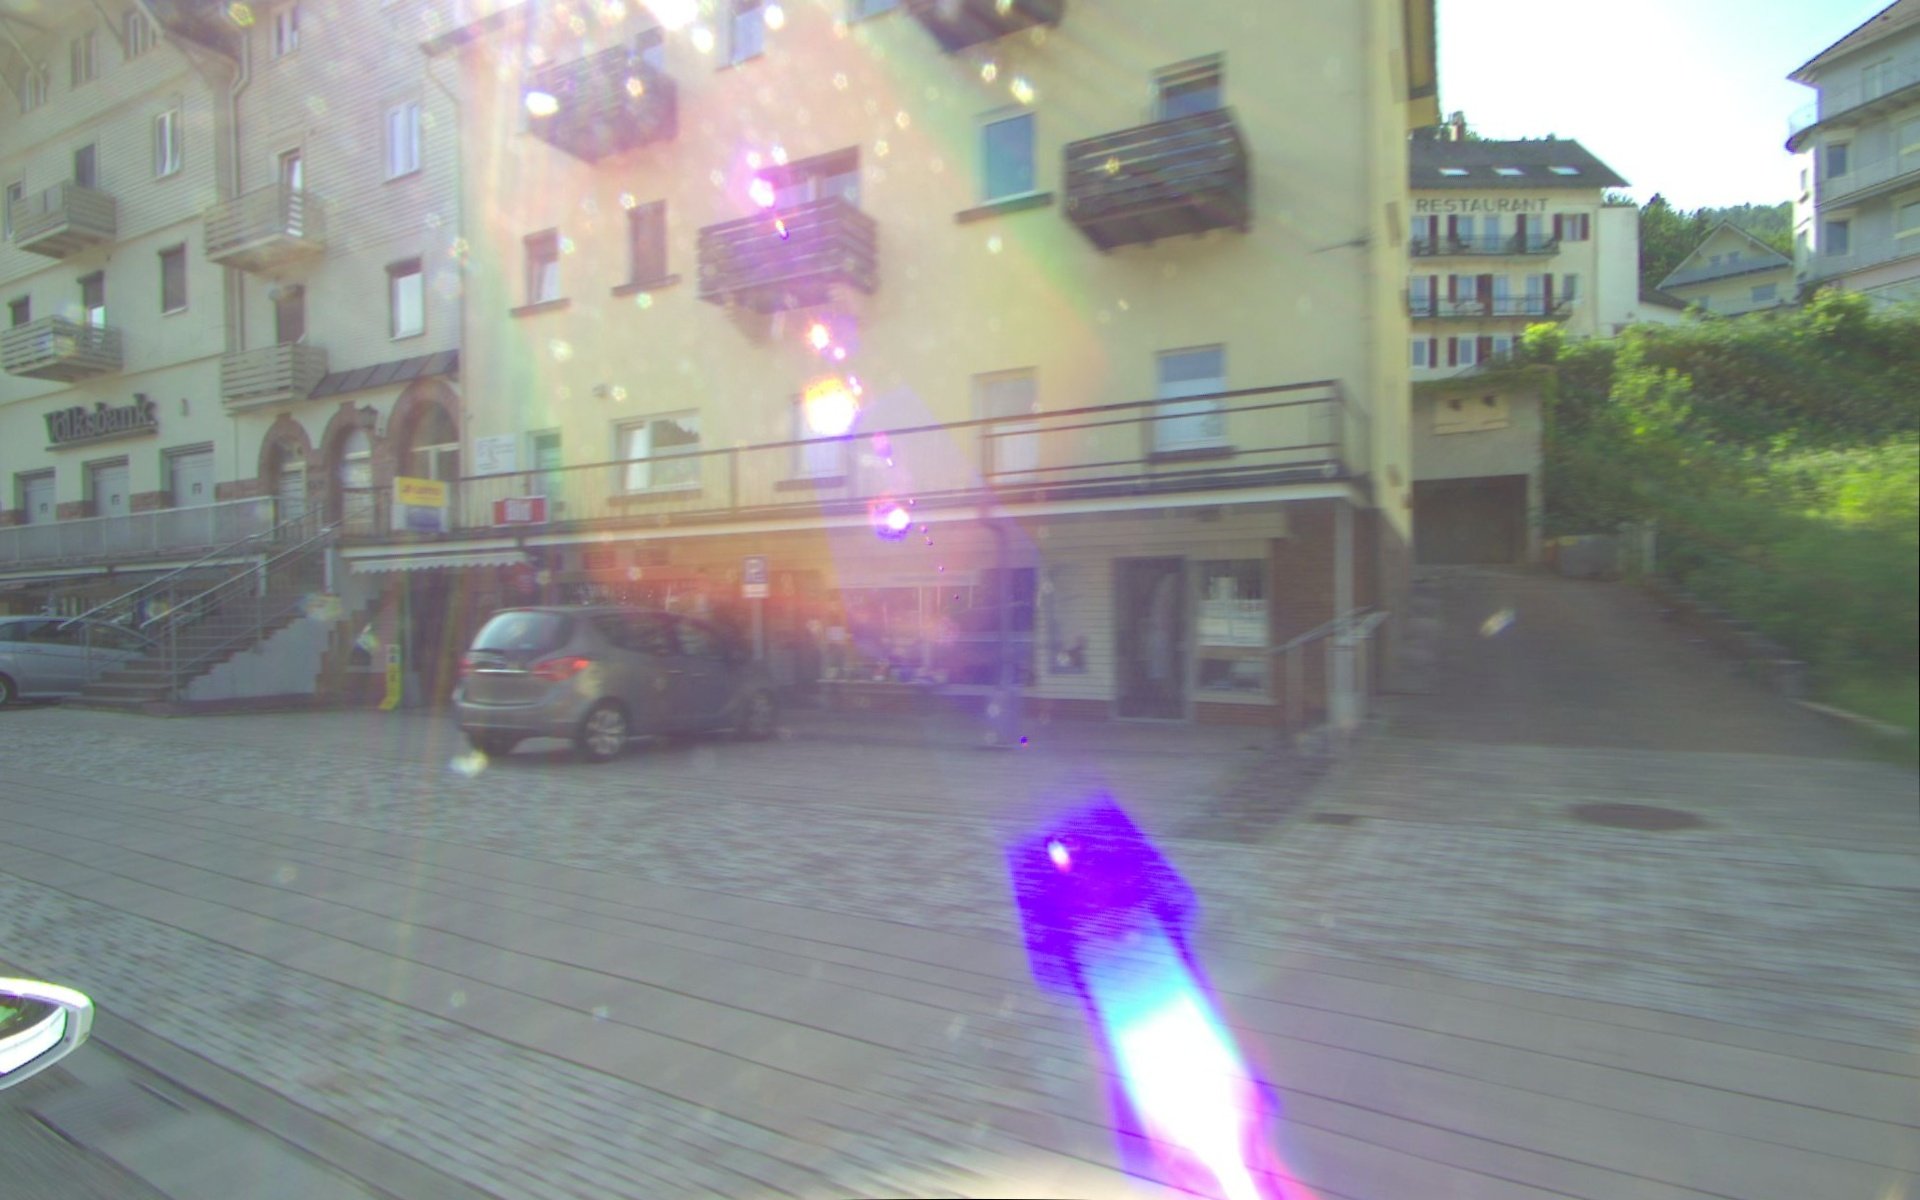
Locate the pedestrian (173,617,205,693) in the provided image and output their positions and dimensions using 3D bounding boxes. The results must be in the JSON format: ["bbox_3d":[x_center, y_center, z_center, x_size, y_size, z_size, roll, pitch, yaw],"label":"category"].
[{"bbox_3d":[-17.412,1.226,22.602,0.429,1.681,0.410,0,2,36],"label":"pedestrian"}]

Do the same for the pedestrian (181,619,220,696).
[{"bbox_3d":[-16.822,1.262,22.182,0.426,1.681,0.457,-1,2,11],"label":"pedestrian"}]

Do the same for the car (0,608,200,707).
[{"bbox_3d":[-15.970,0.995,17.482,1.747,1.609,3.909,0,-3,28],"label":"car"}]

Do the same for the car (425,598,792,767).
[{"bbox_3d":[-3.759,0.876,11.442,1.732,1.574,3.862,-1,-3,26],"label":"car"}]

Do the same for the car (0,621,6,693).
[{"bbox_3d":[-21.241,1.080,19.212,1.709,1.479,3.909,-1,-3,28],"label":"car"}]

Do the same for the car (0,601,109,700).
[{"bbox_3d":[-18.551,0.927,18.478,1.829,1.826,3.909,-1,-4,28],"label":"car"}]
